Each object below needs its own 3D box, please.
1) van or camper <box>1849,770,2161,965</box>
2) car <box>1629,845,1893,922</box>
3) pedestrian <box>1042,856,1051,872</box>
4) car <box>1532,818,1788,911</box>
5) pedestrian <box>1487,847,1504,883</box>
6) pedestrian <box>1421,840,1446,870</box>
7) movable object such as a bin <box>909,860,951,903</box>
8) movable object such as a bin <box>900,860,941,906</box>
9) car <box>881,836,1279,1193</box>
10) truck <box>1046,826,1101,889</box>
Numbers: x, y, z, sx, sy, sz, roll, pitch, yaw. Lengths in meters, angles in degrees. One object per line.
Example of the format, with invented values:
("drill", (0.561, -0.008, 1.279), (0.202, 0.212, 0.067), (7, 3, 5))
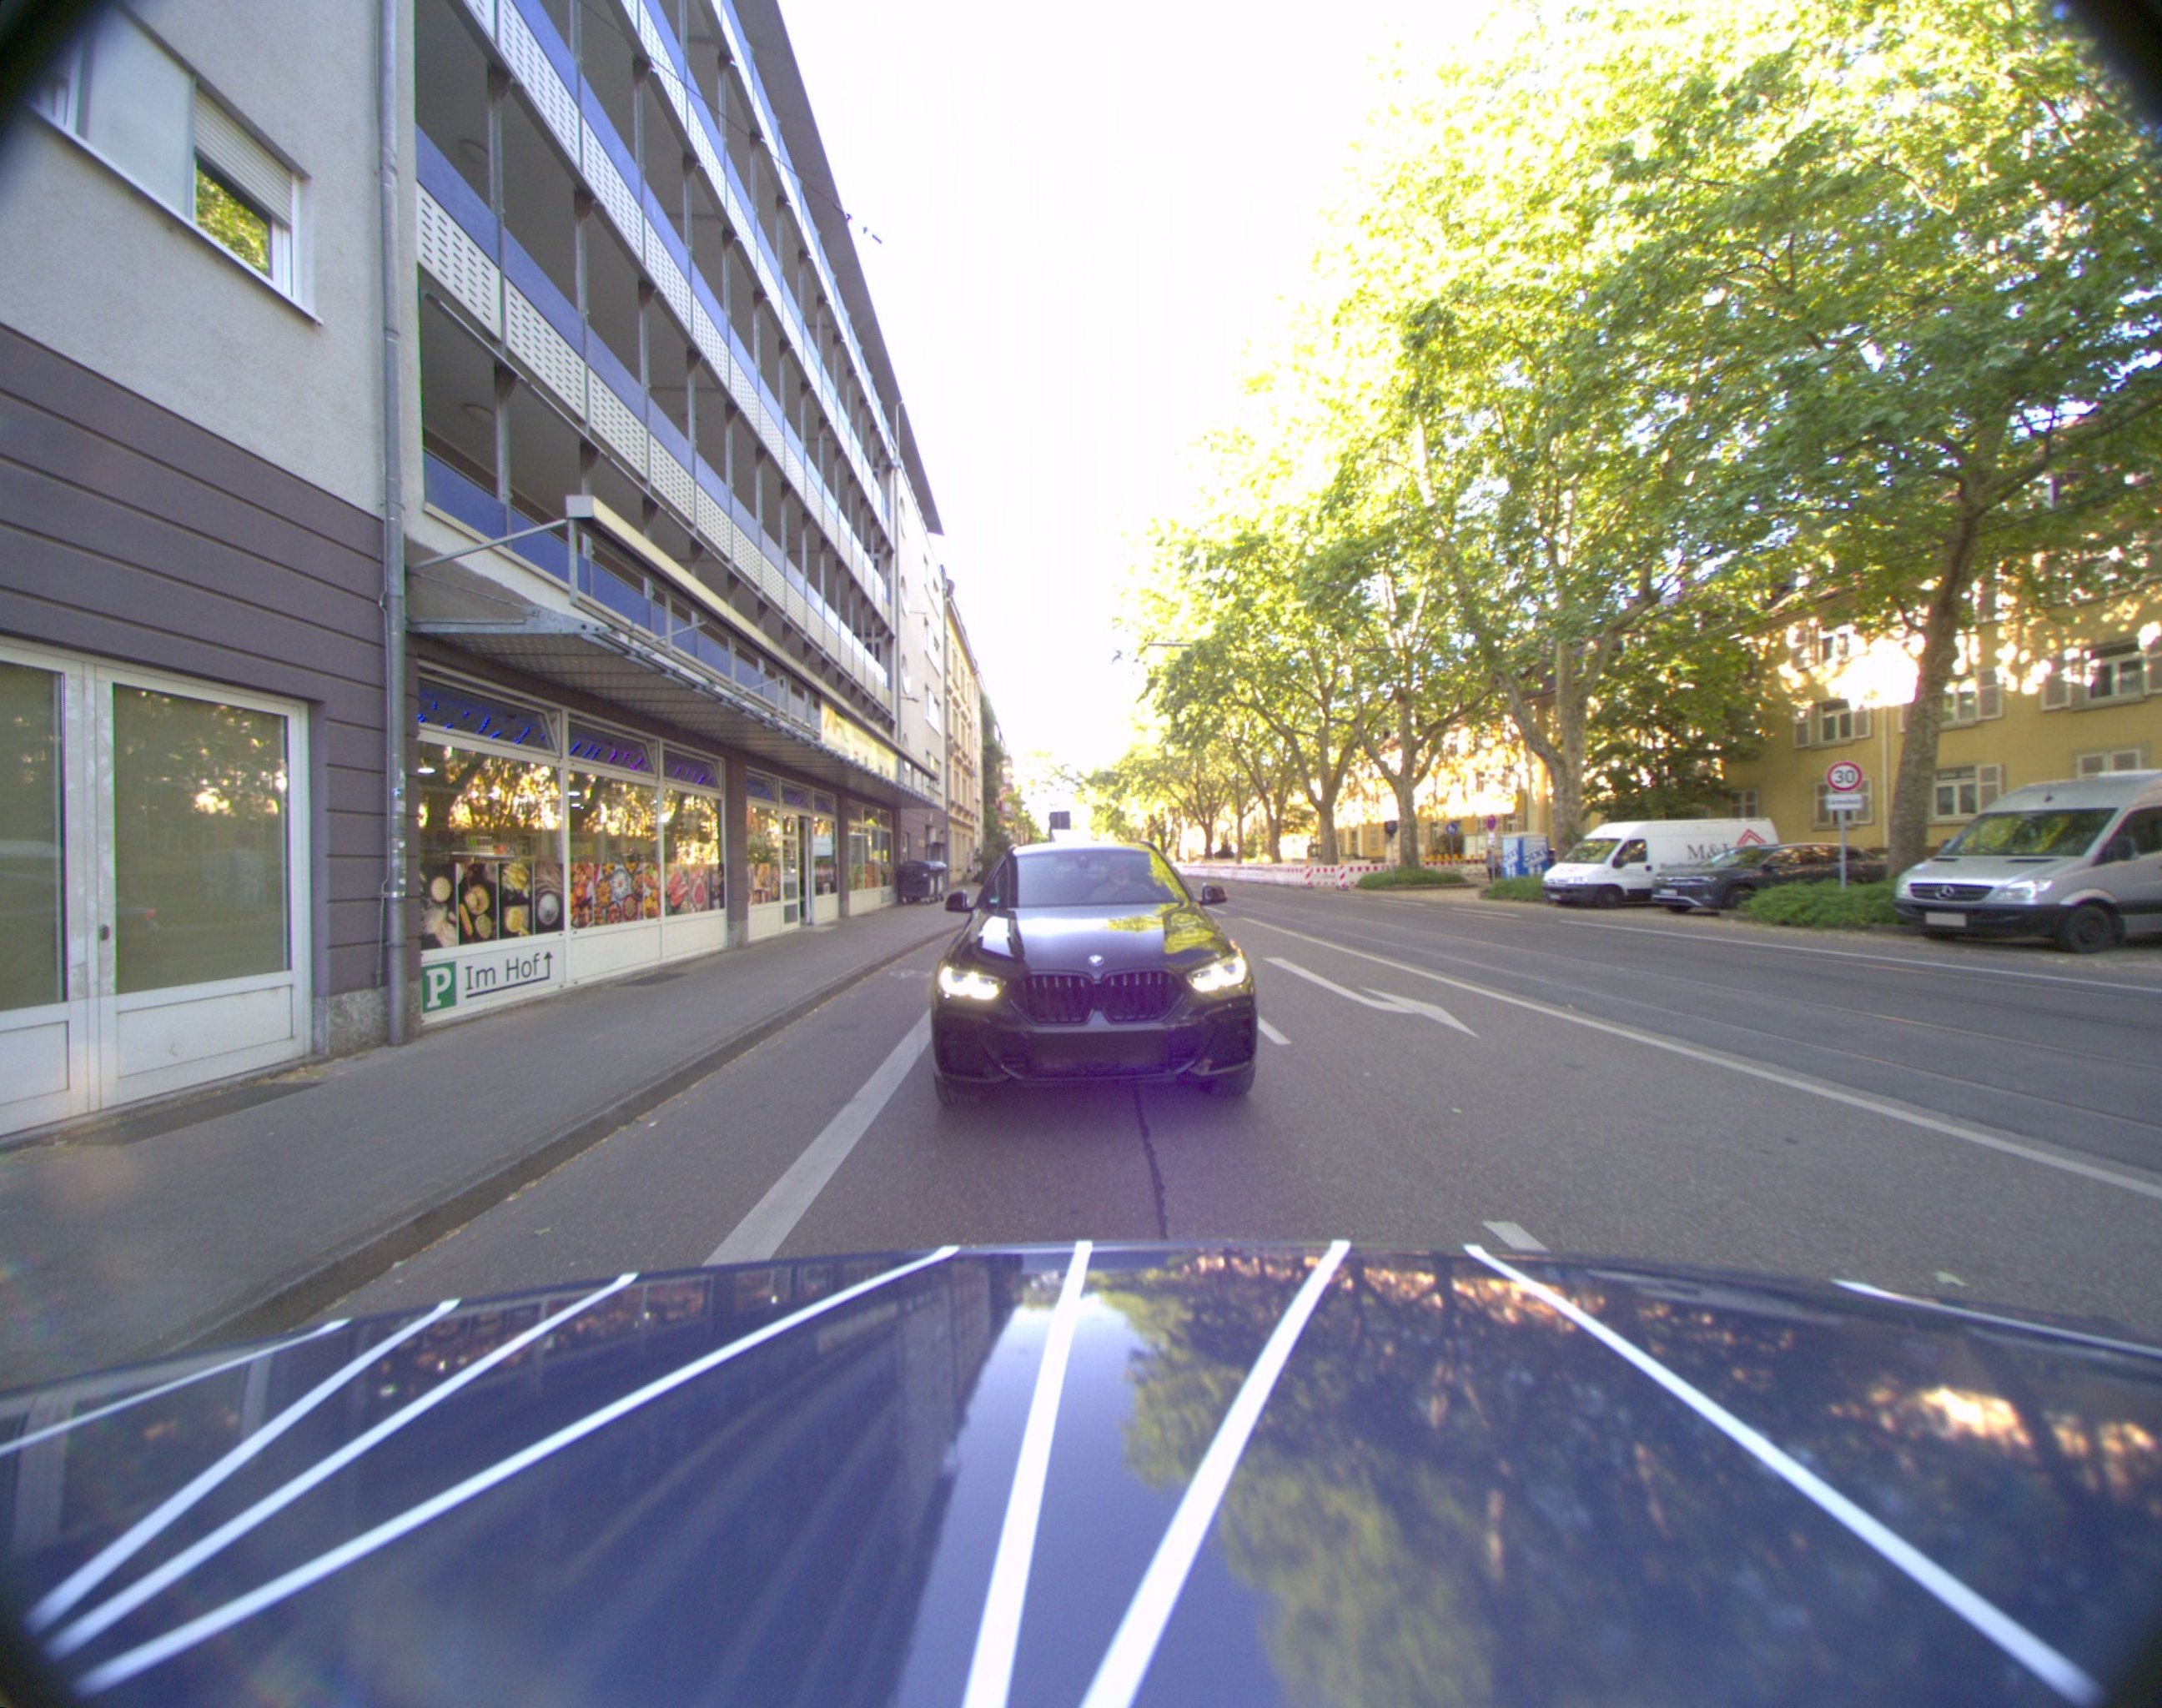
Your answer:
("van or camper", (16.087, 0.126, 11.808), (6.127, 2.661, 2.229), (-2, 0, -2))
("car", (15.938, 0.655, 17.981), (4.575, 1.621, 1.969), (-1, 0, -2))
("pedestrian", (-4.002, 1.155, 88.606), (0.876, 1.728, 0.848), (-3, 1, 1))
("car", (15.849, 0.272, 21.007), (5.612, 2.361, 2.025), (-1, 0, -2))
("pedestrian", (18.180, 0.480, 33.318), (0.595, 1.563, 0.718), (-1, 0, 26))
("pedestrian", (24.037, 0.094, 51.796), (1.098, 2.002, 1.235), (-1, 0, -4))
("movable object such as a bin", (-5.290, 0.948, 26.713), (1.122, 1.437, 1.306), (-1, 0, 4))
("movable object such as a bin", (-5.230, 0.928, 24.818), (1.069, 1.438, 1.296), (-1, 0, -1))
("car", (0.019, 0.820, 6.065), (1.943, 1.733, 4.475), (-2, 0, 1))
("truck", (-0.580, 0.197, 43.163), (2.385, 3.165, 8.525), (2, 0, -5))
